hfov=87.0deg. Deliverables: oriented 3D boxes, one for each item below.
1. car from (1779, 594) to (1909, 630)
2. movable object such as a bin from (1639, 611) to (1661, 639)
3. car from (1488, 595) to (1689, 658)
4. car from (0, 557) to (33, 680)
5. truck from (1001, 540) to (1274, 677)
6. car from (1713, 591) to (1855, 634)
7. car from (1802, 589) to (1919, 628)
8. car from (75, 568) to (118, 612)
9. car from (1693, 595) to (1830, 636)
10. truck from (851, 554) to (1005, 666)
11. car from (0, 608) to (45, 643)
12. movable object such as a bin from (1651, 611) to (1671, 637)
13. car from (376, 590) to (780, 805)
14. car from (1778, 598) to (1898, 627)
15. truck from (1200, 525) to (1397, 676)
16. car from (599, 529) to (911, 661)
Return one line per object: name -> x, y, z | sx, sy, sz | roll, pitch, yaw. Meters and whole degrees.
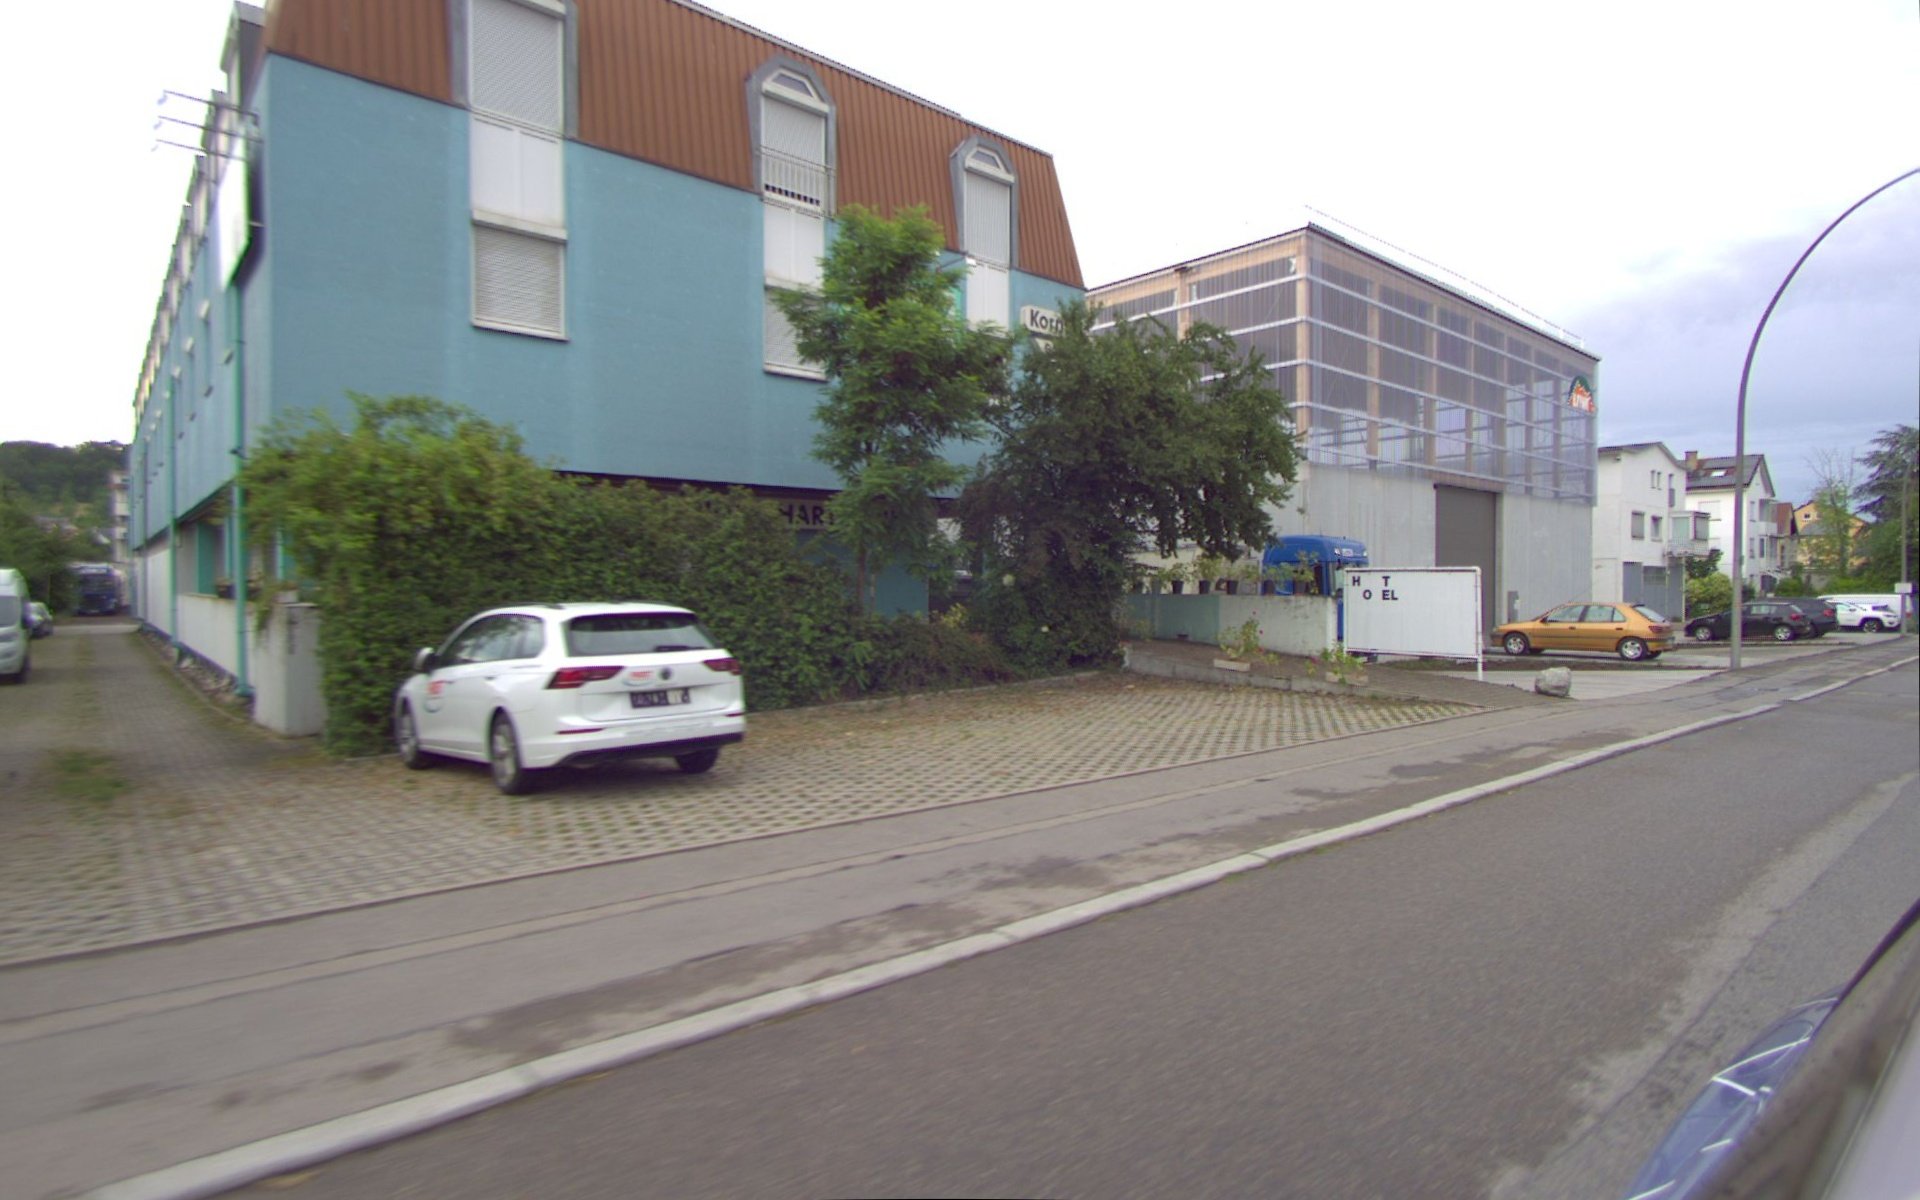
car -> 42.193, 0.589, 48.369 | 1.861, 1.645, 4.451 | 0, -1, -41
movable object such as a bin -> 27.556, 1.000, 40.409 | 0.633, 1.068, 0.575 | 0, -1, -40
car -> 15.634, 0.607, 25.308 | 1.603, 1.449, 3.992 | 0, 0, -42
car -> -24.025, 0.474, 24.348 | 2.407, 2.744, 5.935 | 0, -1, -42
truck -> 5.247, 0.321, 31.695 | 2.676, 3.755, 8.543 | 0, -1, -42
car -> 33.890, 0.512, 41.695 | 1.946, 1.696, 4.233 | -1, -1, -41
car -> 46.227, 0.425, 51.627 | 1.965, 1.910, 4.739 | 0, -1, -40
car -> -63.773, -0.712, 74.696 | 2.085, 3.062, 5.655 | 0, -1, -44
car -> 31.817, 0.633, 40.253 | 1.800, 1.509, 3.974 | 0, -2, -39
truck -> -1.365, 0.404, 39.118 | 2.673, 3.971, 6.086 | 0, -1, -41
car -> -39.174, 1.023, 41.753 | 1.967, 1.340, 3.988 | 0, 0, -45
movable object such as a bin -> 28.797, 0.990, 41.576 | 0.496, 1.068, 0.518 | 0, -1, -40
car -> -3.571, 0.681, 8.933 | 1.848, 1.410, 4.420 | 0, -1, -42
car -> 43.878, 0.626, 50.666 | 1.818, 1.396, 4.326 | -1, -1, -41
truck -> 9.109, 0.098, 27.420 | 2.674, 3.721, 4.146 | 0, -3, -43
car -> -3.062, -0.069, 15.703 | 4.356, 1.762, 1.995 | -1, -1, -44
